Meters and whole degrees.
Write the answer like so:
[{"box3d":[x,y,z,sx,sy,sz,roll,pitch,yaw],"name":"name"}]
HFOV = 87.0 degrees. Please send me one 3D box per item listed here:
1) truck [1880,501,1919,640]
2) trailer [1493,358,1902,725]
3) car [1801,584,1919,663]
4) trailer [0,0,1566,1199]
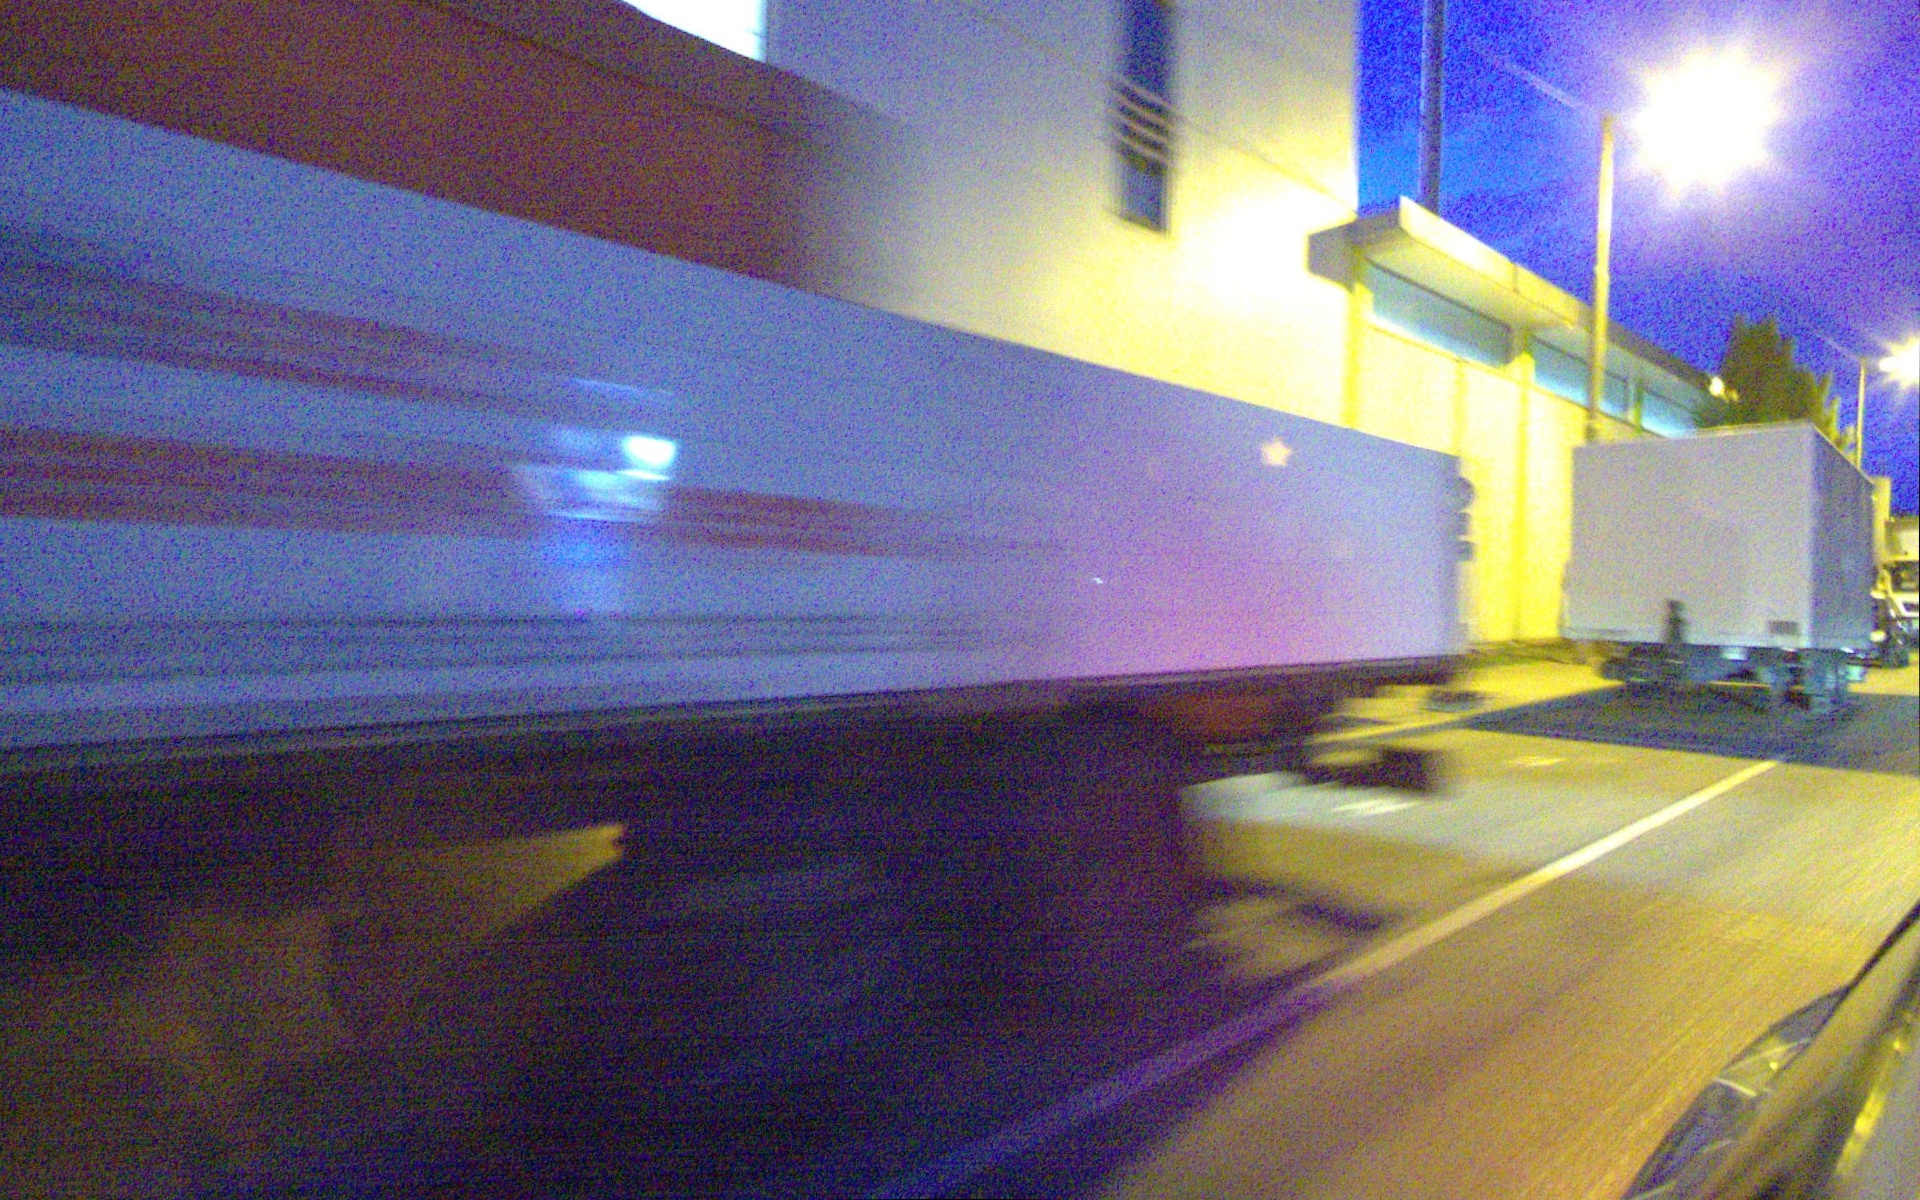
[{"box3d":[31.849,-0.870,32.142,9.649,4.020,2.795,0,0,-41],"name":"truck"},{"box3d":[10.317,-0.653,13.696,8.143,3.568,2.882,-1,2,-43],"name":"trailer"},{"box3d":[19.920,0.448,22.206,3.415,1.580,1.684,-1,2,-40],"name":"car"},{"box3d":[-3.324,-0.536,1.458,14.399,3.810,2.771,-1,1,-41],"name":"trailer"}]
